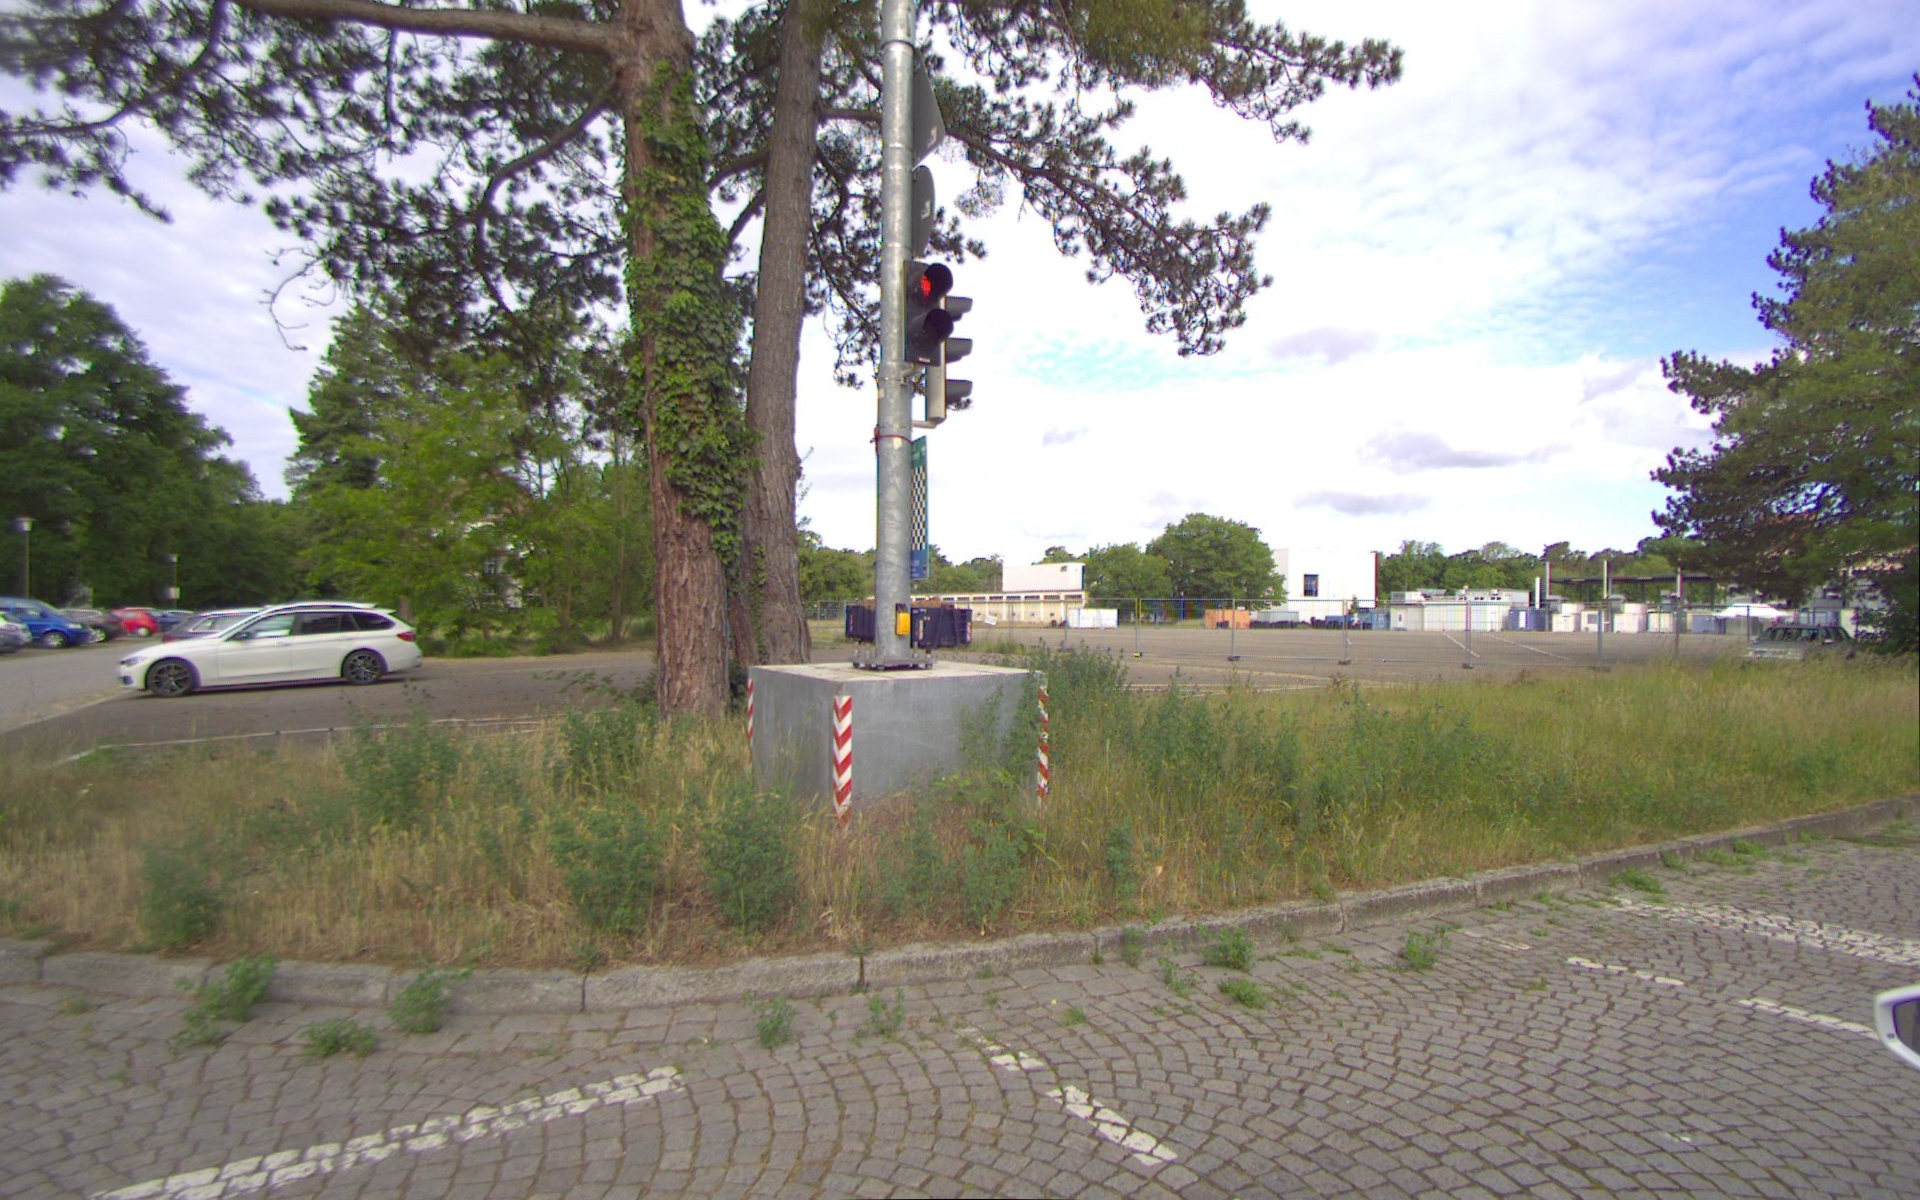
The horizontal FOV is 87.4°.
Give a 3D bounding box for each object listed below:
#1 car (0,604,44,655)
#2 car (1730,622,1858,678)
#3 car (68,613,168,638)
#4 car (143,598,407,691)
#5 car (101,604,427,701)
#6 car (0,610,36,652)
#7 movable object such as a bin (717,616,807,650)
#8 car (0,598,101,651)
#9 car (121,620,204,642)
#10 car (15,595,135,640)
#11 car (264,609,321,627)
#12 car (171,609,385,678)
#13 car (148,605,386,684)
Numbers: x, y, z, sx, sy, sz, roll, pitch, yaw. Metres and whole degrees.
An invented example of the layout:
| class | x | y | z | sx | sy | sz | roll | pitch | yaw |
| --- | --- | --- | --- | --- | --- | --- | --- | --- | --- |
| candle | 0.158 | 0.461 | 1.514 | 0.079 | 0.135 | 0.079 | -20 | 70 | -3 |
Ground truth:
| class | x | y | z | sx | sy | sz | roll | pitch | yaw |
| --- | --- | --- | --- | --- | --- | --- | --- | --- | --- |
| car | -34.565 | 1.031 | 34.747 | 3.951 | 1.737 | 1.678 | 0 | 0 | -29 |
| car | 23.916 | 1.385 | 28.783 | 3.954 | 1.507 | 1.605 | 1 | -1 | -31 |
| car | -46.693 | 1.415 | 55.797 | 3.952 | 1.372 | 1.677 | 1 | -1 | -30 |
| car | -13.941 | 0.839 | 20.717 | 4.281 | 1.605 | 1.810 | -2 | 1 | -34 |
| car | -12.570 | 0.876 | 18.503 | 4.690 | 1.461 | 1.799 | -2 | 1 | -34 |
| car | -32.679 | 0.987 | 32.385 | 3.952 | 1.372 | 1.677 | 1 | -1 | -30 |
| movable object such as a bin | -6.432 | 1.061 | 32.647 | 2.632 | 1.062 | 1.170 | 1 | -1 | -36 |
| car | -36.987 | 0.956 | 39.379 | 4.737 | 2.007 | 1.982 | 0 | 0 | -31 |
| car | -51.404 | 1.986 | 64.851 | 3.952 | 1.372 | 1.677 | 1 | -1 | -30 |
| car | -41.381 | 0.806 | 47.111 | 3.958 | 2.040 | 1.853 | 1 | -1 | -34 |
| car | -74.106 | 1.996 | 111.609 | 5.104 | 2.040 | 1.983 | 1 | -1 | -31 |
| car | -16.906 | 1.039 | 25.121 | 4.281 | 1.587 | 1.782 | 1 | -1 | -34 |
| car | -15.683 | 0.942 | 22.975 | 4.281 | 1.522 | 1.843 | -2 | 1 | -34 |
